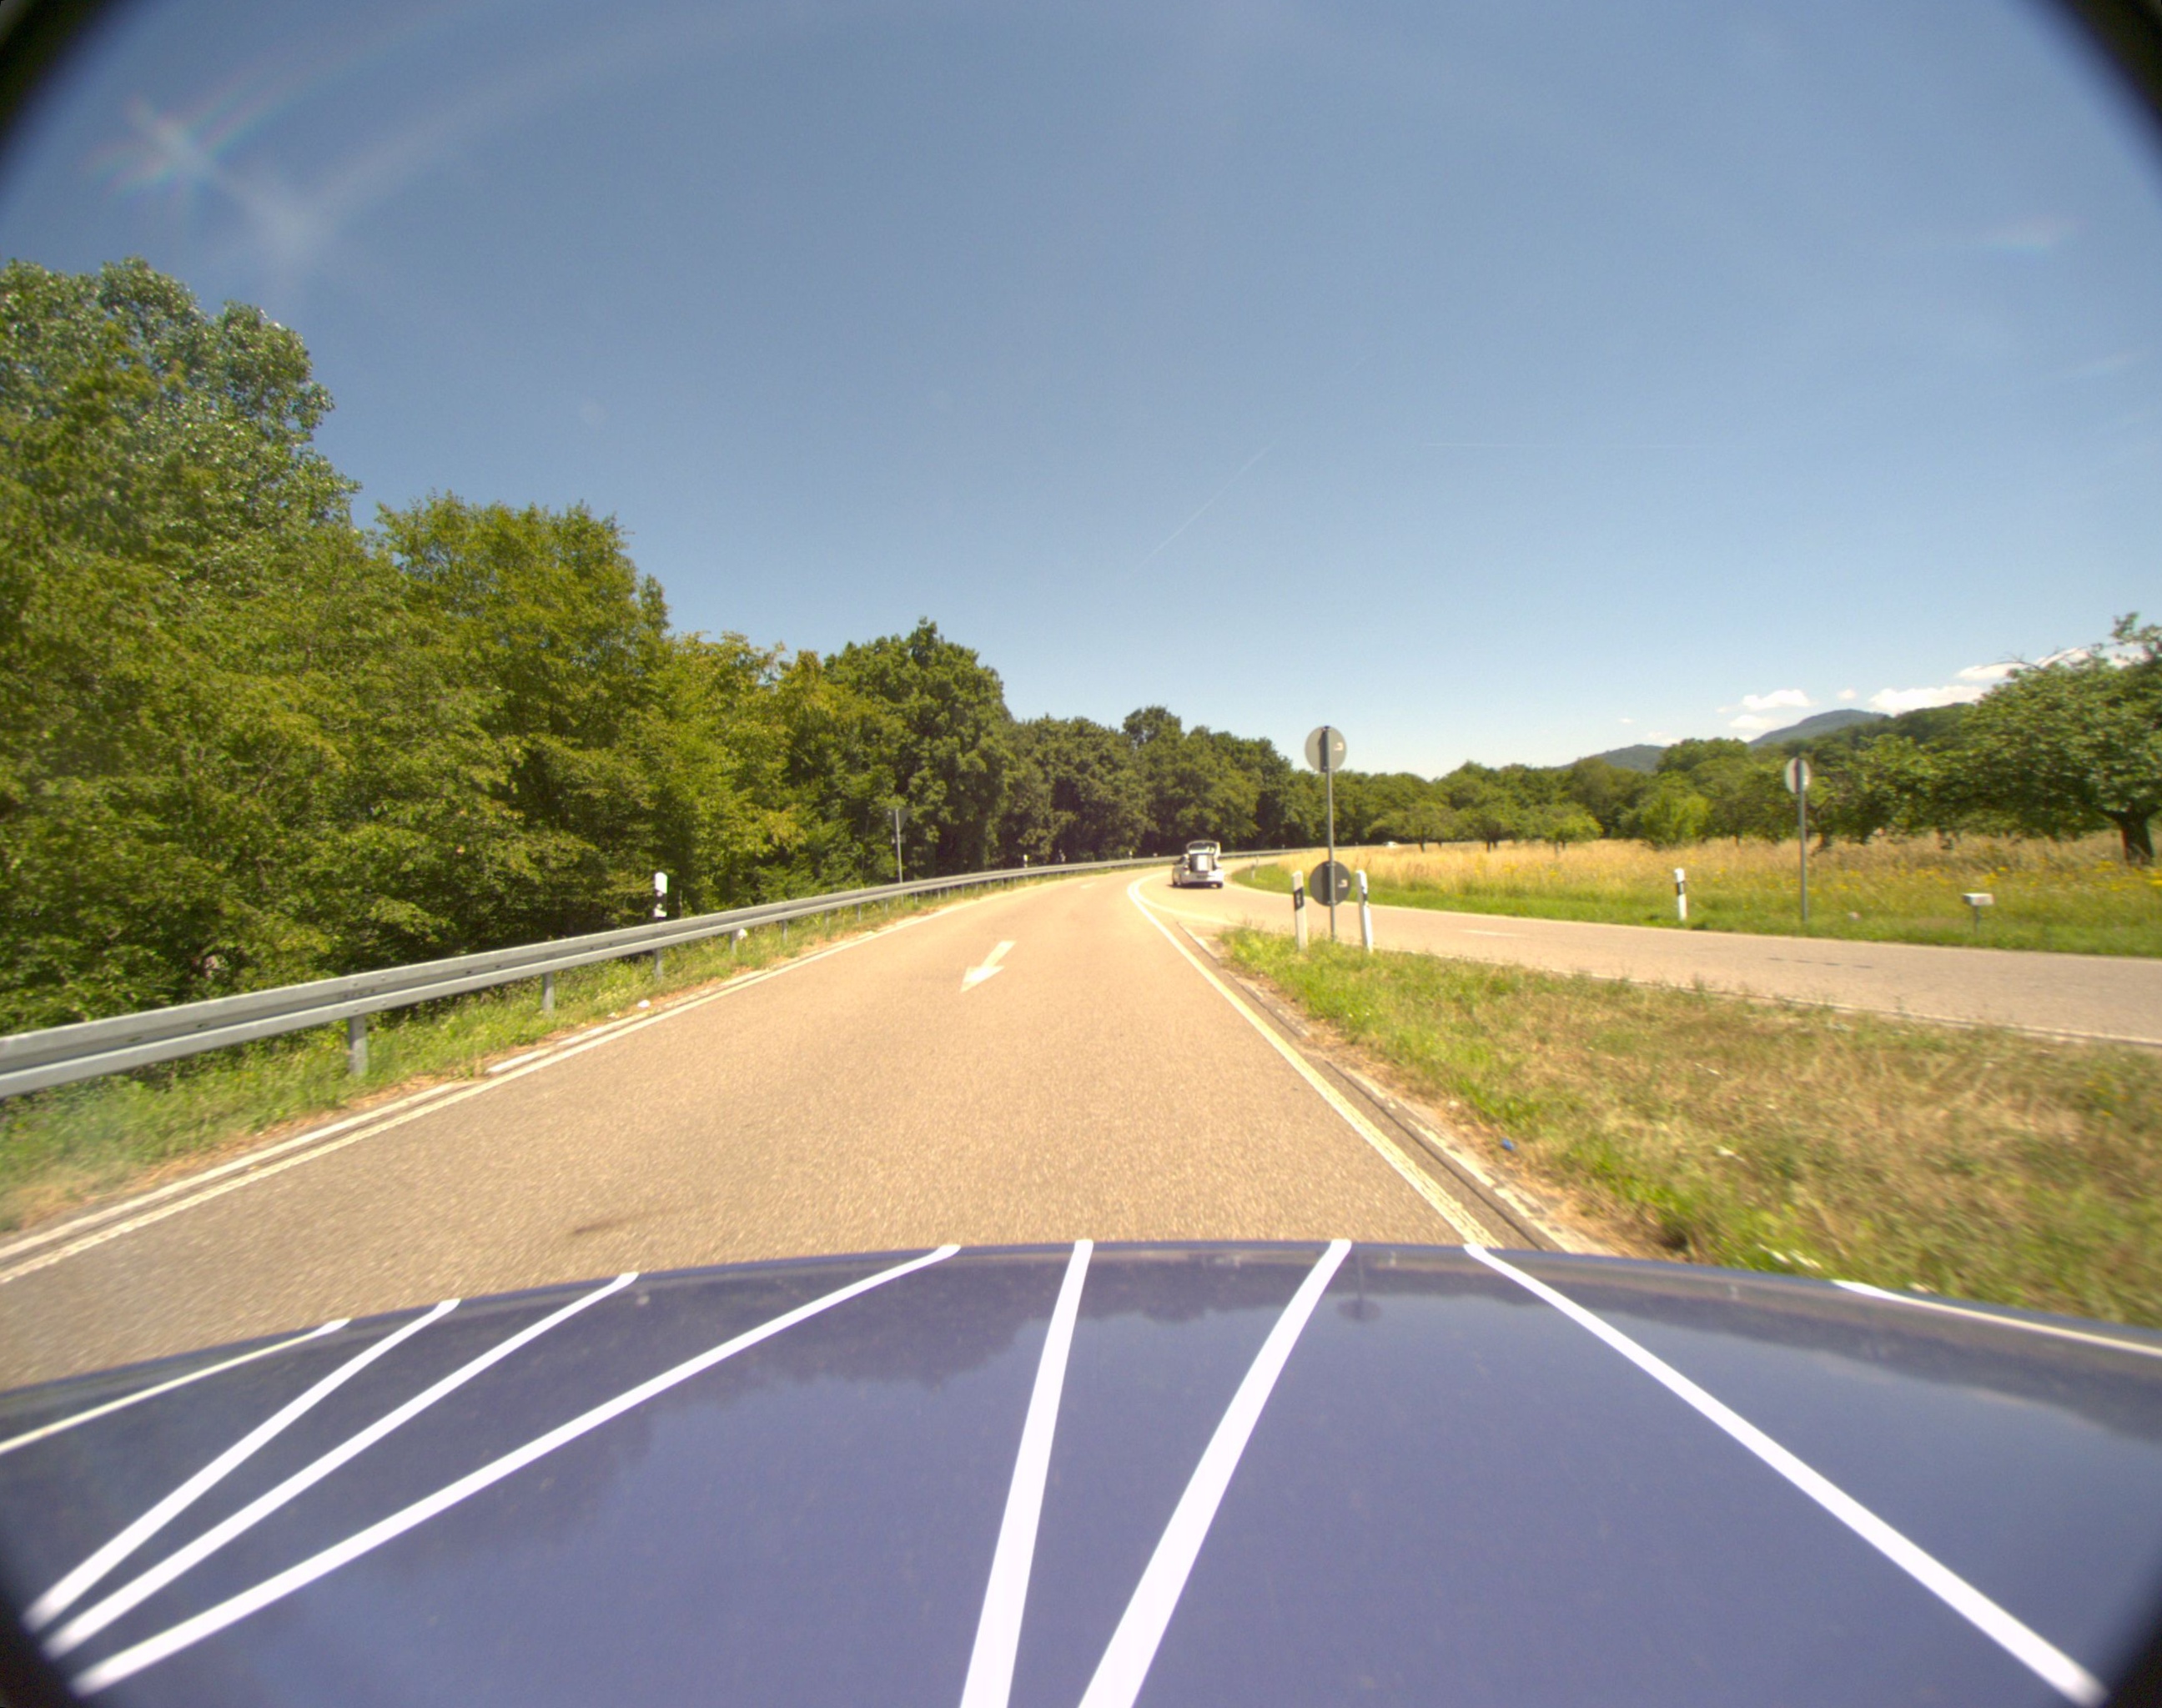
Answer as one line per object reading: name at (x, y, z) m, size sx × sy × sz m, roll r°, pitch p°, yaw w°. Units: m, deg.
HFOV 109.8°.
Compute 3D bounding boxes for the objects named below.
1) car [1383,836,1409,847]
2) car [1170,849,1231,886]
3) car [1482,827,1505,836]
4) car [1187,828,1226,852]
car at (46.429, -1.842, 112.071) m, size 4.181 × 1.498 × 1.823 m, roll 0°, pitch 1°, yaw -40°
car at (5.014, 0.528, 32.460) m, size 1.851 × 1.416 × 4.146 m, roll 0°, pitch 1°, yaw -1°
car at (71.142, -3.953, 131.118) m, size 4.407 × 1.450 × 1.822 m, roll -3°, pitch 5°, yaw -37°
car at (12.066, -1.355, 72.560) m, size 2.220 × 2.023 × 5.434 m, roll 2°, pitch 4°, yaw 25°
